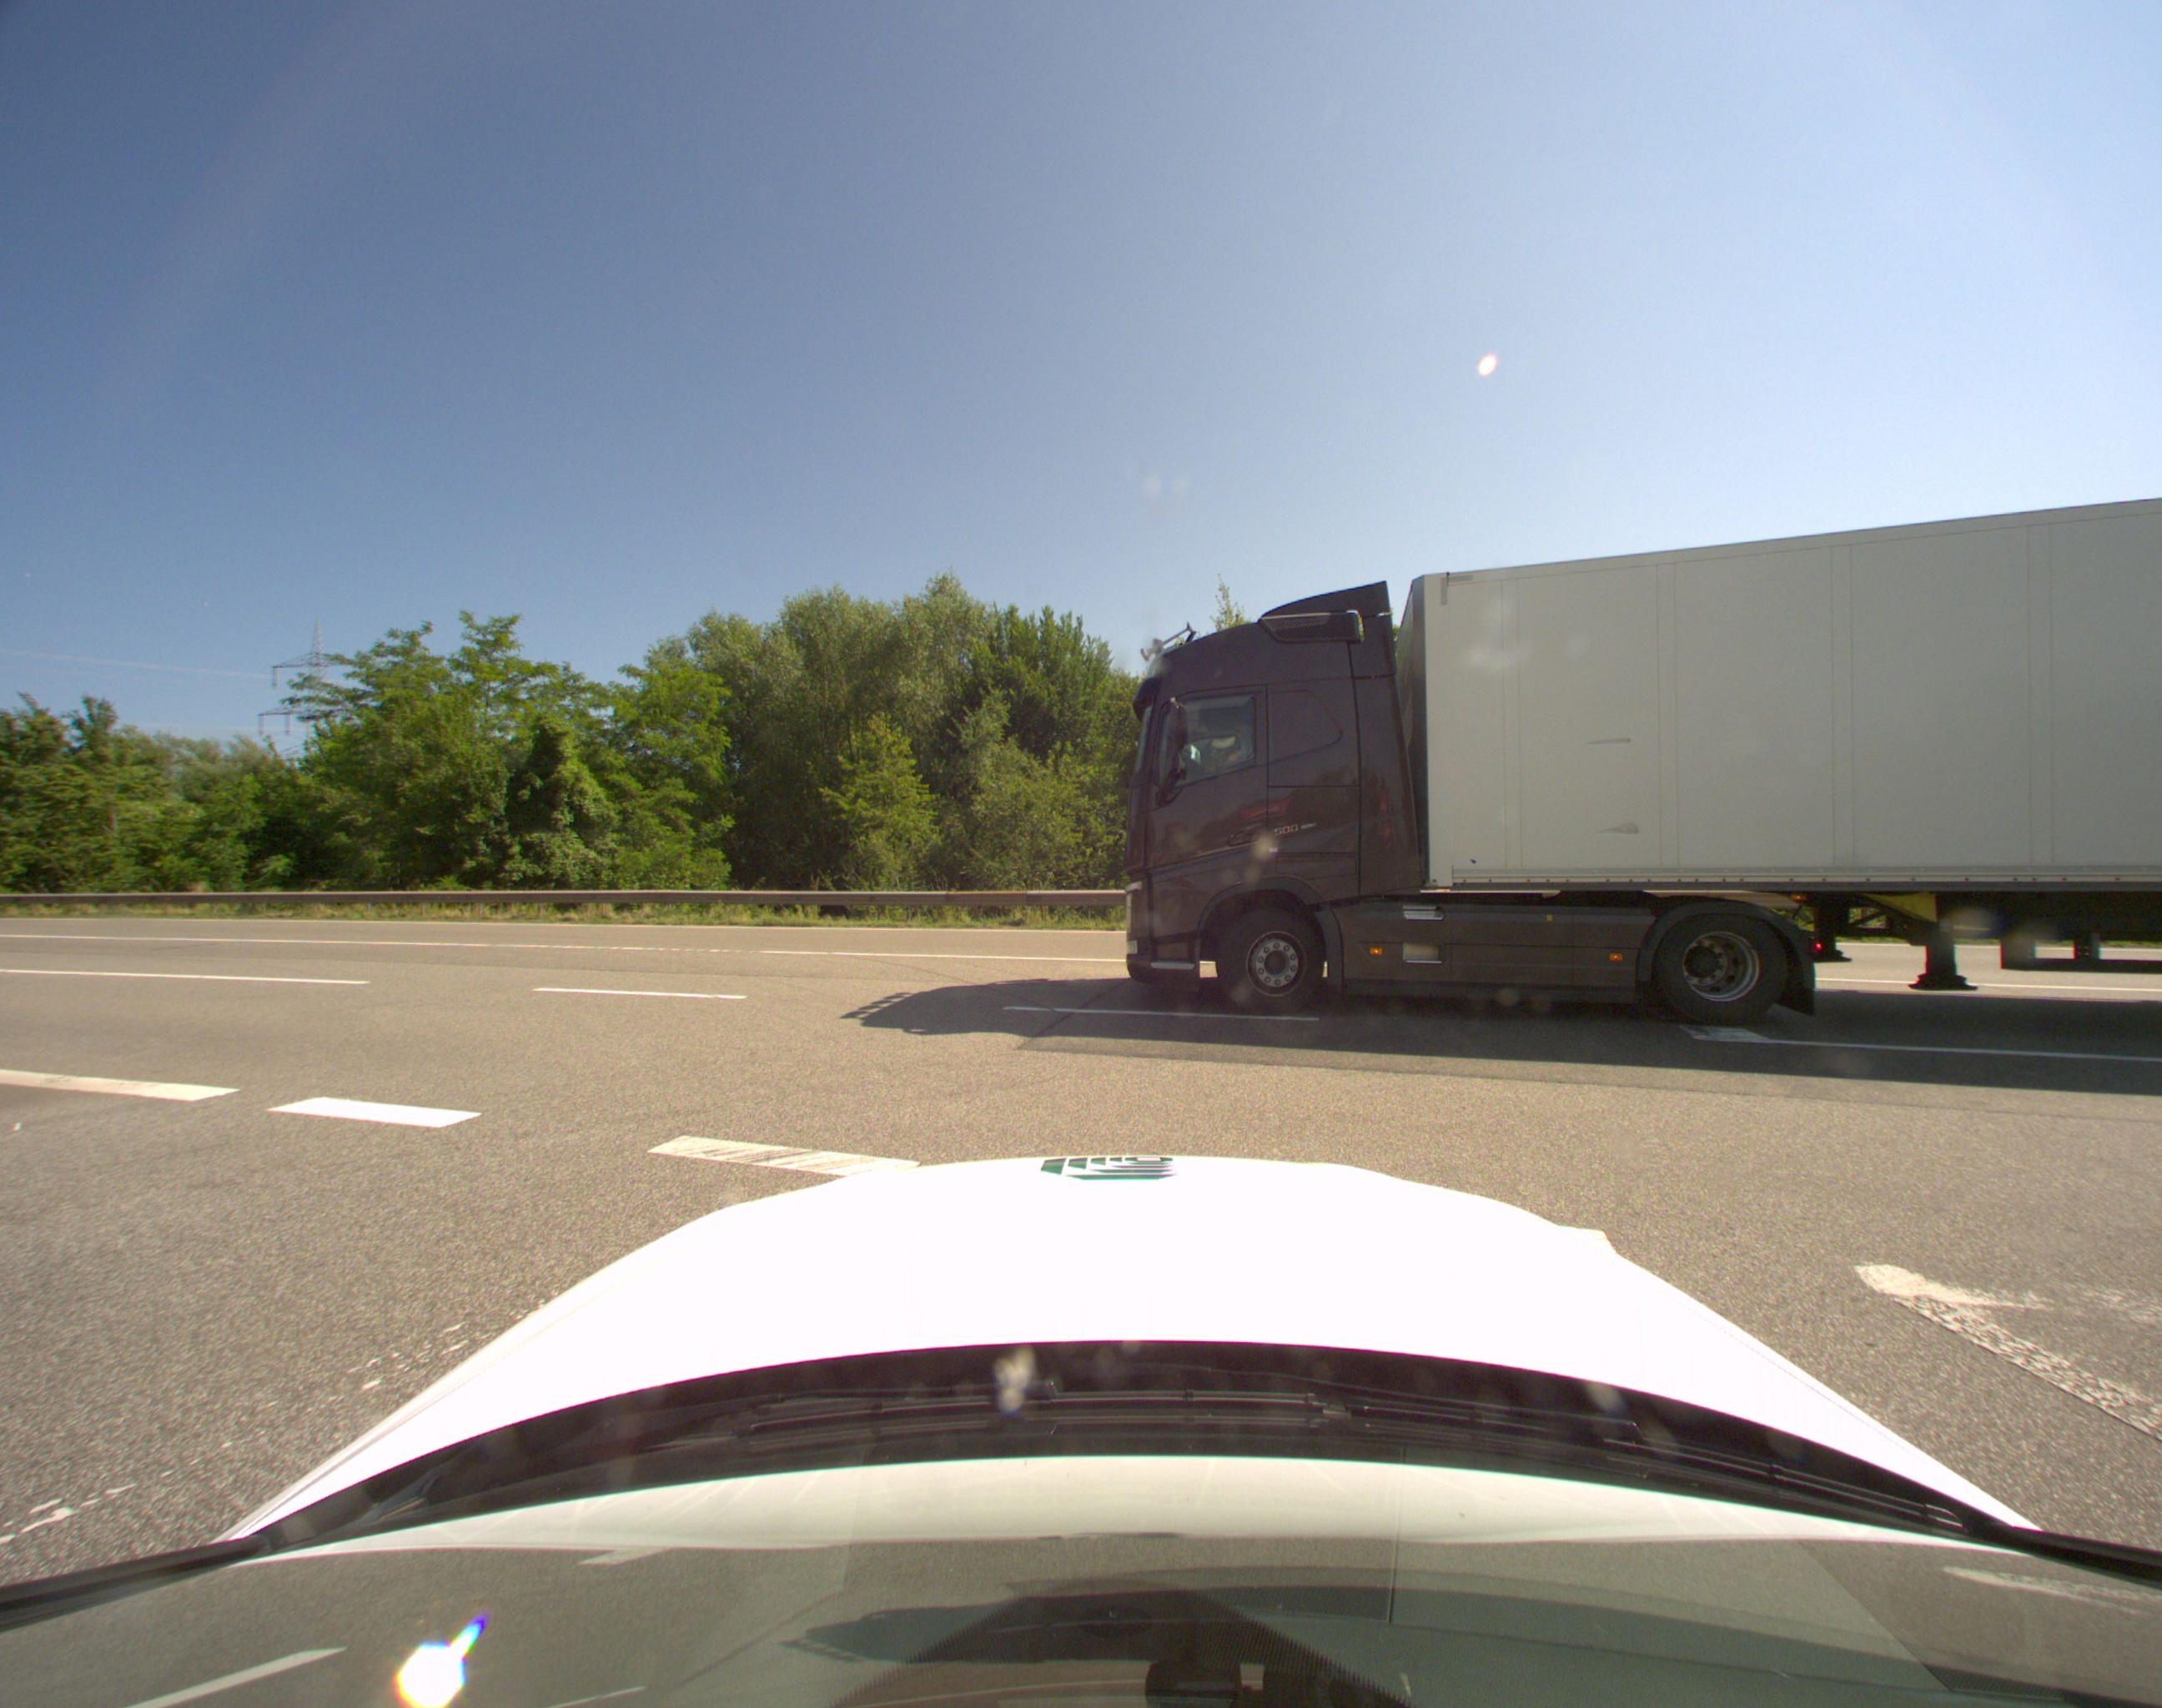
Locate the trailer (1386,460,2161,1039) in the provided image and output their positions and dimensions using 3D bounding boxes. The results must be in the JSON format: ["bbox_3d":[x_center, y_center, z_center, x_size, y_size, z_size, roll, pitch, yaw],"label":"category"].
[{"bbox_3d":[9.984,-0.790,6.702,13.825,4.165,2.910,-1,0,17],"label":"trailer"}]

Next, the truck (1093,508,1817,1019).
[{"bbox_3d":[3.300,-0.719,8.523,5.915,4.173,2.887,-1,0,9],"label":"truck"}]
